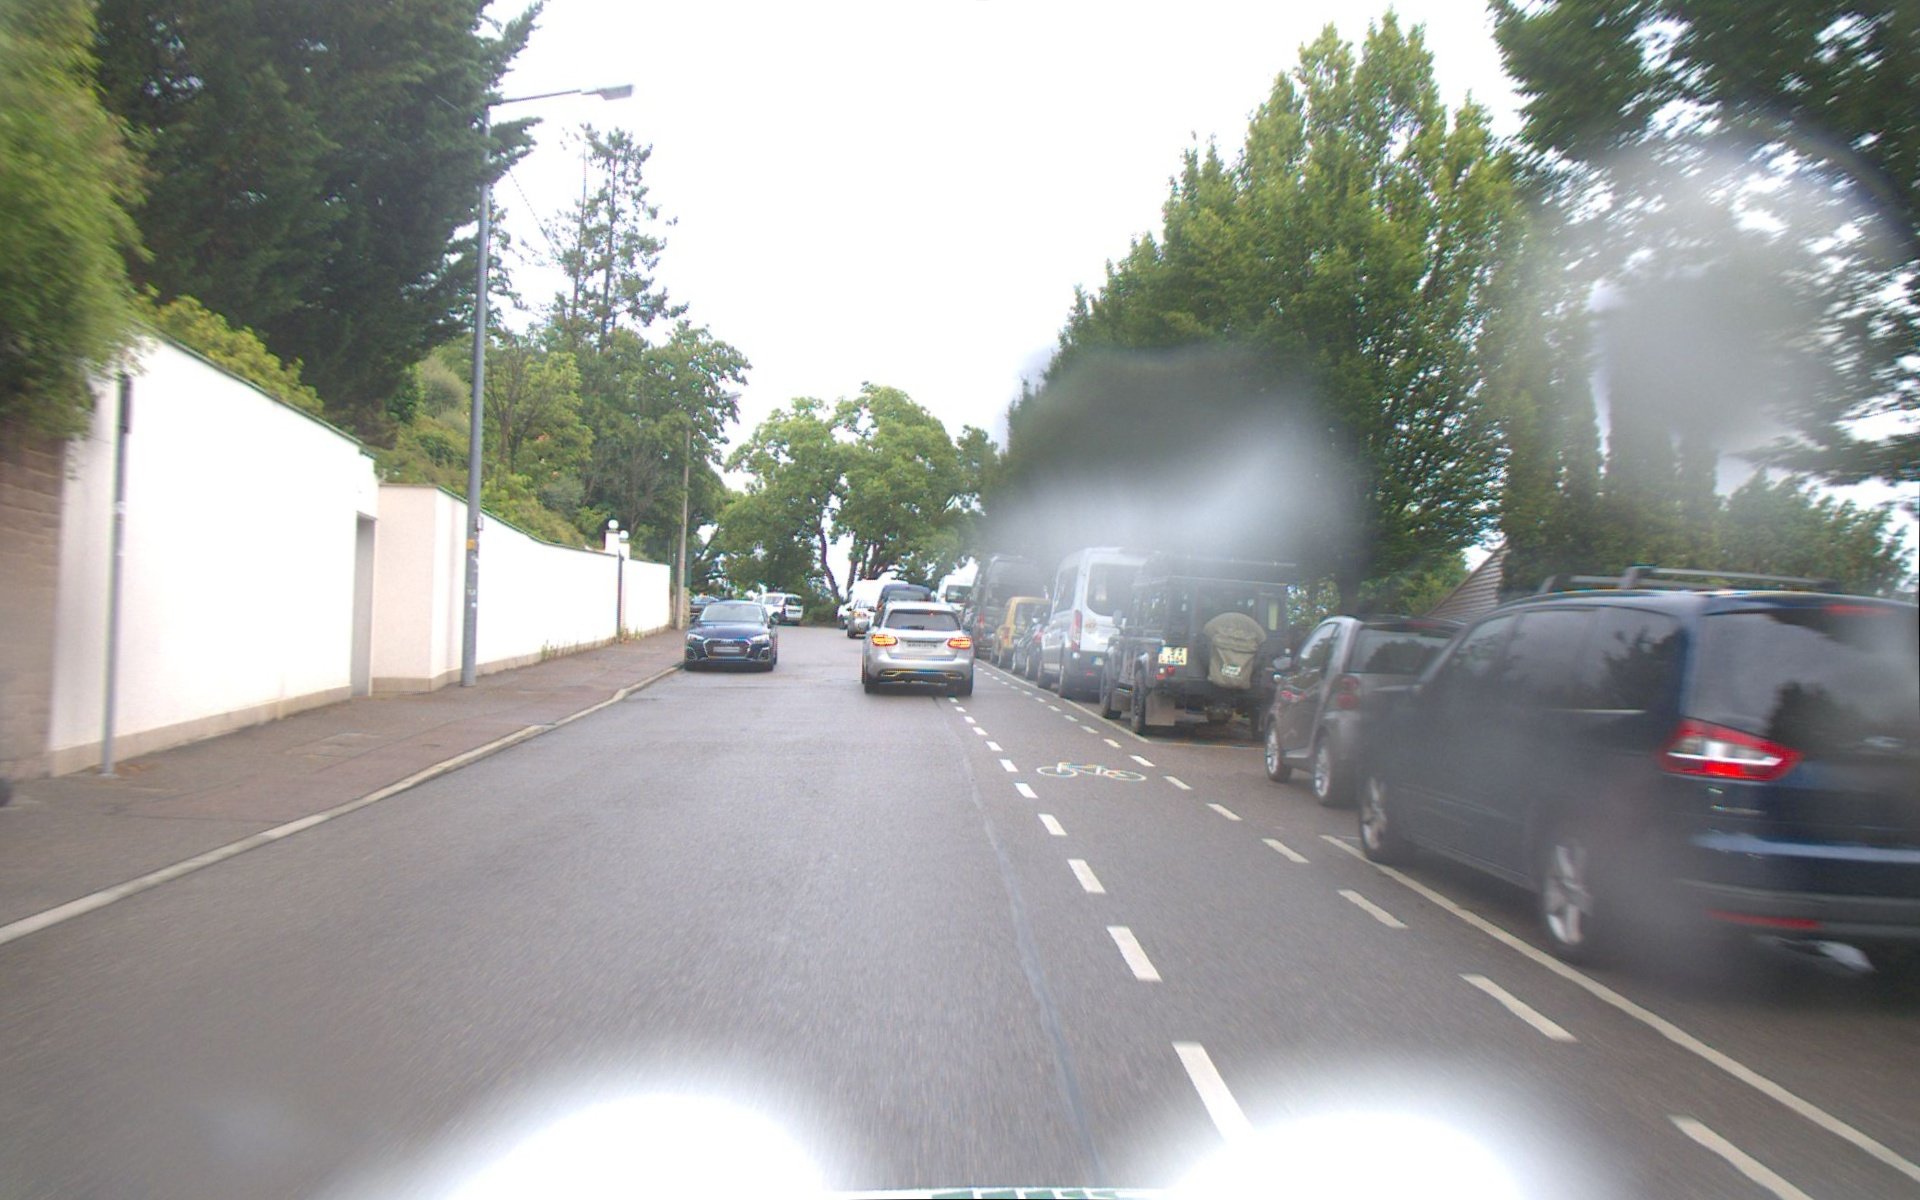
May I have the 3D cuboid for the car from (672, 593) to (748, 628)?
[{"bbox_3d":[-15.192,0.607,100.364,4.587,1.727,1.959,5,0,41],"label":"car"}]

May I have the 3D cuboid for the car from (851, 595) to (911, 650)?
[{"bbox_3d":[-2.758,0.803,58.444,1.954,1.738,3.998,4,-2,-2],"label":"car"}]

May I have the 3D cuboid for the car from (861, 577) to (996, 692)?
[{"bbox_3d":[-0.611,0.537,27.727,1.985,1.738,4.212,2,0,-4],"label":"car"}]

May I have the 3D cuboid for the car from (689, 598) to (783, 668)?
[{"bbox_3d":[-4.704,0.657,35.151,1.714,1.381,4.421,1,0,-5],"label":"car"}]

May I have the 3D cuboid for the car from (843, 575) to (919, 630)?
[{"bbox_3d":[-4.207,0.108,87.389,2.101,2.570,4.455,5,0,-28],"label":"car"}]

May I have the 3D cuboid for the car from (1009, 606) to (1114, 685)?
[{"bbox_3d":[2.195,0.957,36.840,1.639,1.483,4.220,6,-1,-4],"label":"car"}]

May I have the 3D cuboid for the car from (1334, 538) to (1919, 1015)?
[{"bbox_3d":[3.571,0.714,8.810,1.745,1.814,4.675,3,0,-4],"label":"car"}]

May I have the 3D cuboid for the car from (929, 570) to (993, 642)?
[{"bbox_3d":[-0.013,0.209,64.473,2.024,2.537,4.756,5,0,-4],"label":"car"}]

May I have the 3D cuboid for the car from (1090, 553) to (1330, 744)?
[{"bbox_3d":[3.106,0.582,21.728,1.954,2.087,5.117,4,-1,-4],"label":"car"}]

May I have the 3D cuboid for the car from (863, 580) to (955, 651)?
[{"bbox_3d":[-1.454,0.432,45.576,1.957,1.738,3.991,4,-2,-9],"label":"car"}]

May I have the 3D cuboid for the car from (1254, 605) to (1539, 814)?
[{"bbox_3d":[3.731,0.880,14.597,1.565,1.585,2.953,3,-1,-3],"label":"car"}]

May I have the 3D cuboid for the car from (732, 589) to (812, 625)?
[{"bbox_3d":[-11.039,0.423,96.921,4.410,1.727,1.962,5,0,37],"label":"car"}]

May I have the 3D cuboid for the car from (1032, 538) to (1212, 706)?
[{"bbox_3d":[2.741,0.366,29.646,2.131,2.536,6.029,5,0,-3],"label":"car"}]

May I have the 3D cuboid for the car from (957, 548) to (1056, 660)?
[{"bbox_3d":[1.272,0.115,48.617,2.083,2.937,5.764,5,0,-5],"label":"car"}]

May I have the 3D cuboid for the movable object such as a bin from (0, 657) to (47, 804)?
[{"bbox_3d":[-6.560,0.850,10.917,0.645,0.935,0.677,3,-1,-1],"label":"movable object such as a bin"}]

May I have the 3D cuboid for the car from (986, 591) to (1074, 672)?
[{"bbox_3d":[1.742,0.771,42.498,1.694,1.816,4.273,6,0,-3],"label":"car"}]
